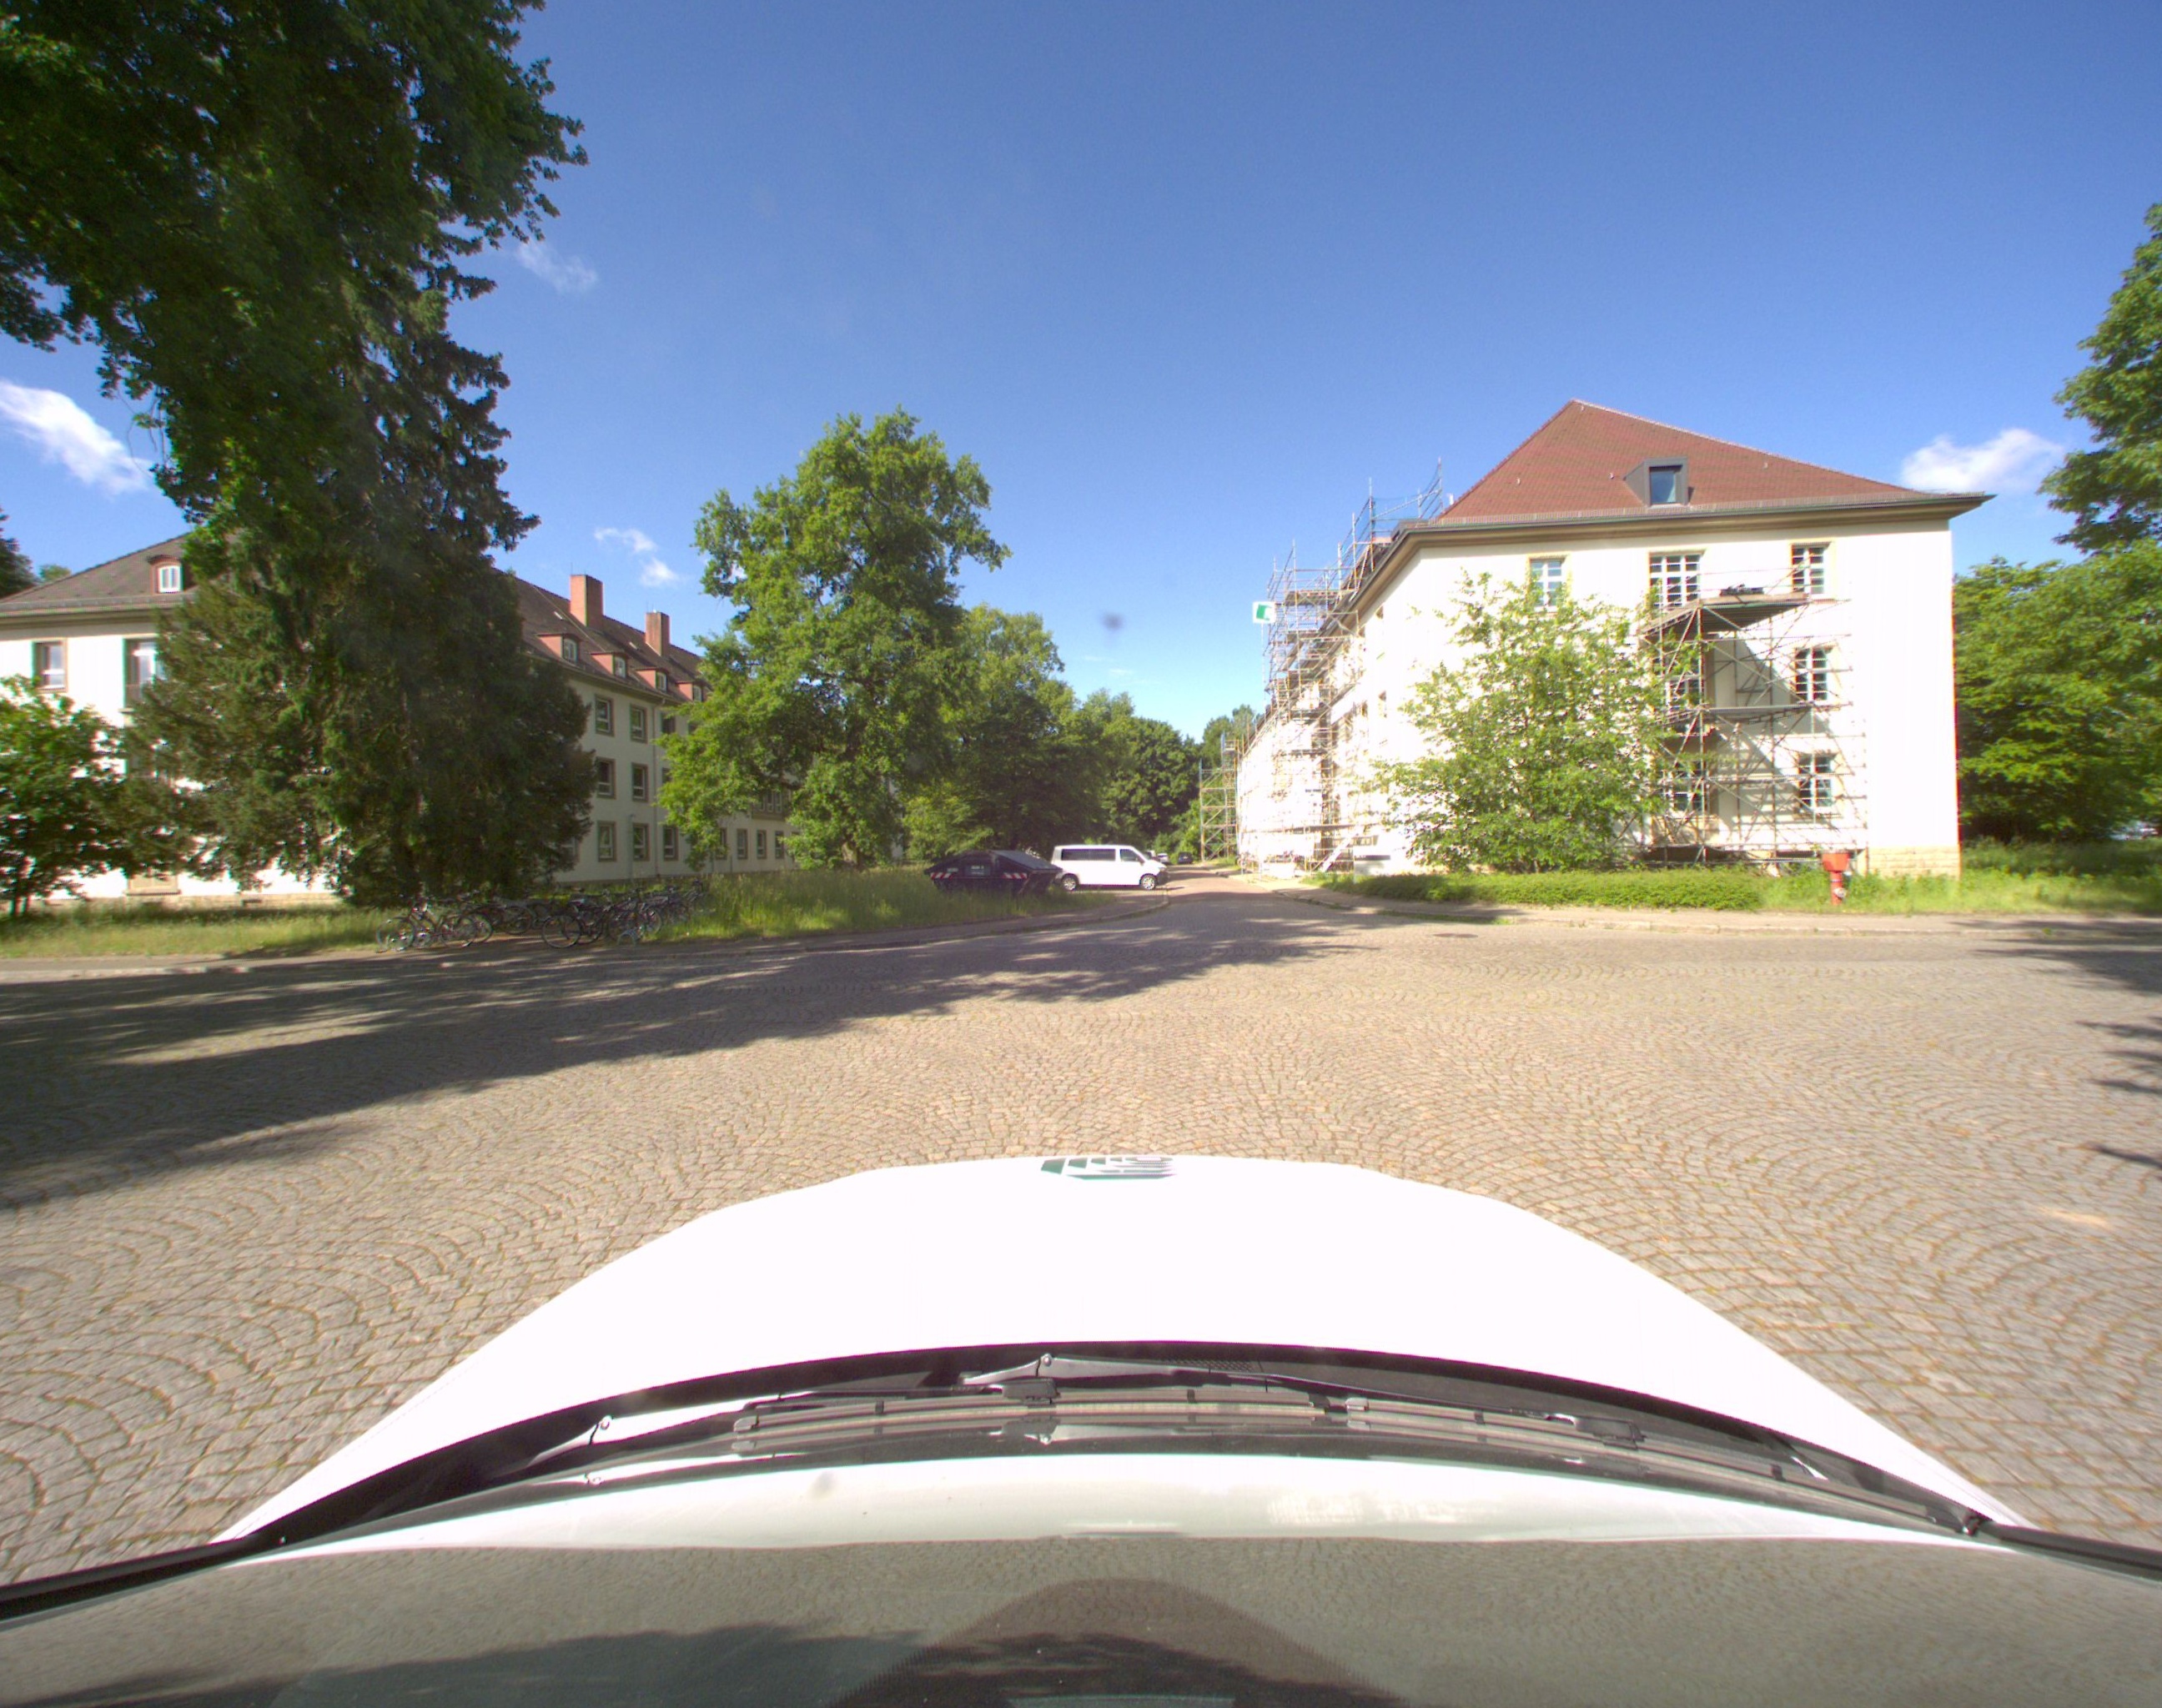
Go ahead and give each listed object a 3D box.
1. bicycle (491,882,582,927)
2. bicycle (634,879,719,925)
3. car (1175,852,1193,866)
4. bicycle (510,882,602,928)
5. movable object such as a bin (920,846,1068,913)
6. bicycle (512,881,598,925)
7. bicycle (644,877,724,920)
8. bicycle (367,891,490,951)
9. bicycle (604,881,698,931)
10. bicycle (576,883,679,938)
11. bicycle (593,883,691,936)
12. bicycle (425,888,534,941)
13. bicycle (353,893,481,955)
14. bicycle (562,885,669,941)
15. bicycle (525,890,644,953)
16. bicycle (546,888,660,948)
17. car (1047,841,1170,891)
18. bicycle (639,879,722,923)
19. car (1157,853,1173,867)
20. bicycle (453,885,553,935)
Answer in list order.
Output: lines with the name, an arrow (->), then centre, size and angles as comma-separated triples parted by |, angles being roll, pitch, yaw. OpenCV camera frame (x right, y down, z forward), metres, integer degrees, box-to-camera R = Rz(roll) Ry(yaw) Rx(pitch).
bicycle -> -14.680, 1.355, 21.992 | 1.915, 1.103, 0.568 | -1, 1, -14
bicycle -> -10.832, 1.277, 21.871 | 1.917, 1.058, 0.473 | -4, 0, -16
car -> 12.834, 0.583, 101.539 | 1.961, 1.668, 4.092 | -2, 0, 5
bicycle -> -13.768, 1.320, 21.396 | 1.915, 1.103, 0.568 | -1, 1, -14
movable object such as a bin -> -2.443, 0.706, 23.027 | 3.533, 1.744, 2.036 | -2, 0, 24
bicycle -> -14.796, 1.363, 22.952 | 1.918, 1.103, 0.567 | -1, 1, -19
bicycle -> -11.090, 1.232, 22.802 | 1.917, 1.058, 0.473 | -4, 0, -16
bicycle -> -13.845, 1.407, 17.338 | 1.919, 1.102, 0.567 | -2, 1, -19
bicycle -> -10.572, 1.265, 20.074 | 1.917, 1.058, 0.473 | -4, 0, -16
bicycle -> -10.237, 1.266, 18.435 | 1.918, 1.058, 0.473 | -4, 0, -18
bicycle -> -10.342, 1.294, 19.238 | 1.918, 1.058, 0.473 | -4, 0, -18
bicycle -> -14.004, 1.394, 19.020 | 1.921, 1.103, 0.566 | -1, 1, -23
bicycle -> -13.679, 1.427, 16.826 | 1.919, 1.102, 0.567 | -2, 1, -19
bicycle -> -10.182, 1.280, 17.865 | 1.918, 1.058, 0.473 | -4, 0, -18
bicycle -> -9.880, 1.322, 16.284 | 1.922, 1.058, 0.472 | -4, 0, -24
bicycle -> -9.842, 1.300, 16.839 | 1.922, 1.058, 0.472 | -4, 0, -24
car -> 1.249, 0.530, 35.876 | 5.210, 2.016, 1.953 | -1, 0, 4
bicycle -> -10.969, 1.272, 22.351 | 1.917, 1.058, 0.473 | -4, 0, -16
car -> 10.423, 0.712, 101.442 | 1.803, 1.579, 4.140 | -2, 0, 5
bicycle -> -14.406, 1.385, 20.361 | 1.921, 1.103, 0.566 | -1, 1, -23
